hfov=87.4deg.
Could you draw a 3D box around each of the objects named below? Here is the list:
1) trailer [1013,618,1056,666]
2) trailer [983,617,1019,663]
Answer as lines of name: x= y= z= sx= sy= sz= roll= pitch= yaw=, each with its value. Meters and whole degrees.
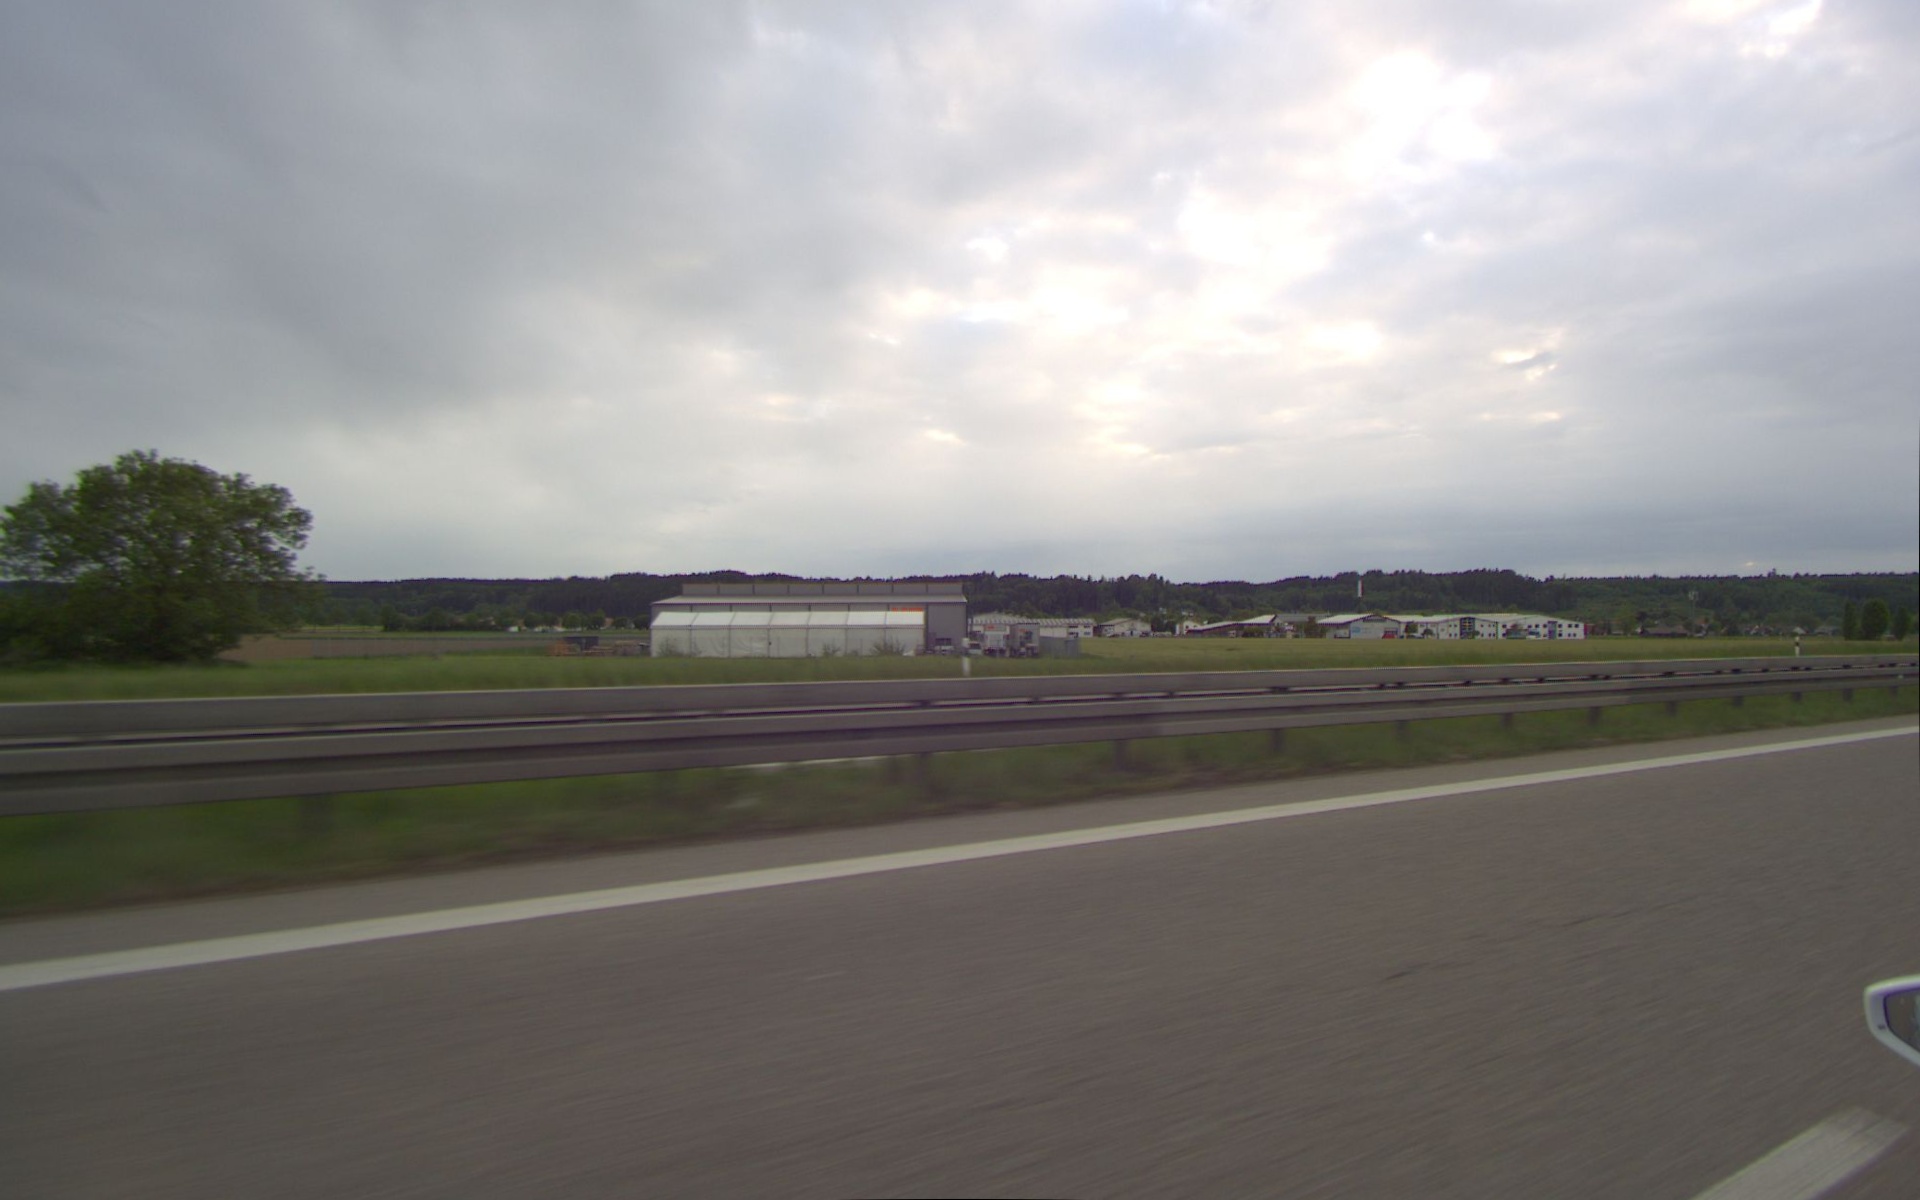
trailer: x=8.628 y=5.093 z=119.426 sx=3.500 sy=5.202 sz=17.038 roll=1 pitch=-3 yaw=-1
trailer: x=4.892 y=4.879 z=121.717 sx=3.681 sy=5.329 sz=10.084 roll=1 pitch=-3 yaw=-1
